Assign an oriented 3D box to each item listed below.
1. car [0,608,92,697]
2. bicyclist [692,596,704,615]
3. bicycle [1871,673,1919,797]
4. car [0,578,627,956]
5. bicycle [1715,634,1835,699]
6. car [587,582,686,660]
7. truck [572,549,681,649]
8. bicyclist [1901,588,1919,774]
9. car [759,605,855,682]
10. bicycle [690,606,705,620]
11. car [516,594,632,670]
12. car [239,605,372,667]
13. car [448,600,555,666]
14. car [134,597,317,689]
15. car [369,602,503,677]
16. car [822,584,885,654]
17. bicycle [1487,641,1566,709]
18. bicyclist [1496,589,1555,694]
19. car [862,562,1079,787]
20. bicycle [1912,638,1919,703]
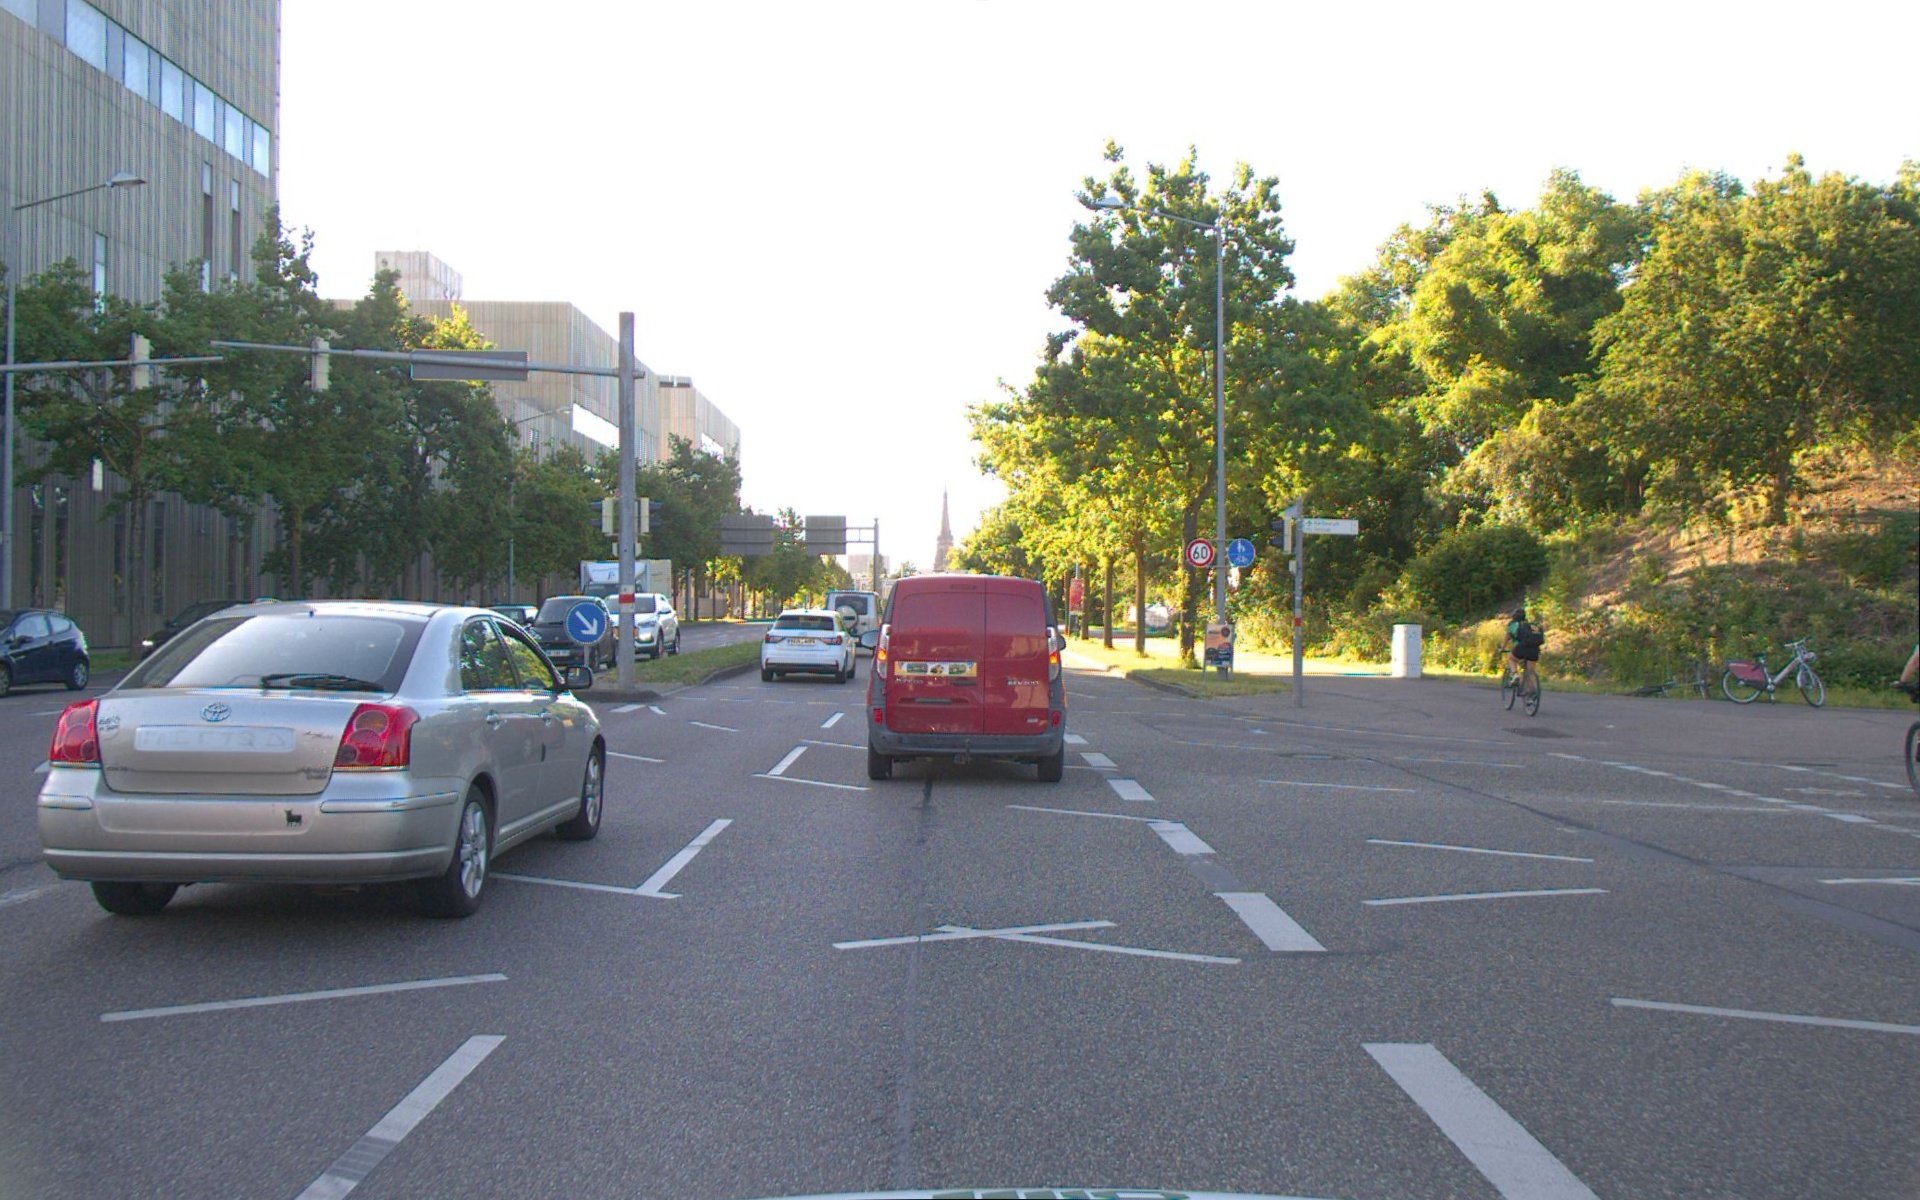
[{"bbox_3d":[-16.551,0.903,28.254,1.613,1.459,3.491,-2,-1,-1],"label":"car"},{"bbox_3d":[-24.903,0.559,157.116,0.891,1.715,1.408,1,-2,0],"label":"bicyclist"},{"bbox_3d":[8.434,1.156,13.933,0.579,1.041,1.750,1,-2,1],"label":"bicycle"},{"bbox_3d":[-3.064,0.702,8.817,1.698,1.506,4.318,1,-1,0],"label":"car"},{"bbox_3d":[13.630,1.111,27.698,1.707,1.041,0.594,1,-2,7],"label":"bicycle"},{"bbox_3d":[-8.166,0.536,42.017,1.721,1.828,4.082,-2,-1,-1],"label":"car"},{"bbox_3d":[-11.140,0.015,55.843,2.360,3.080,6.654,-2,-1,-1],"label":"truck"},{"bbox_3d":[8.438,0.692,13.955,0.579,1.576,0.769,1,-2,1],"label":"bicyclist"},{"bbox_3d":[-3.085,0.858,34.005,1.777,1.463,3.729,1,-1,-3],"label":"car"},{"bbox_3d":[-24.911,1.258,157.094,0.891,1.220,3.300,1,-2,0],"label":"bicycle"},{"bbox_3d":[-8.111,0.677,35.031,1.603,1.469,3.718,-2,-1,-1],"label":"car"},{"bbox_3d":[-16.888,0.919,42.907,1.655,1.469,4.559,-2,-1,-1],"label":"car"},{"bbox_3d":[-11.101,0.787,40.284,1.603,1.469,4.074,-2,-1,-3],"label":"car"},{"bbox_3d":[-13.873,0.794,31.512,1.613,1.572,4.396,-2,-1,-2],"label":"car"},{"bbox_3d":[-11.189,0.821,35.588,1.603,1.469,4.075,-2,-1,-1],"label":"car"},{"bbox_3d":[-3.249,0.634,51.239,1.764,2.024,4.586,1,-2,-2],"label":"car"},{"bbox_3d":[9.054,1.188,26.484,0.580,1.041,1.749,1,-2,-3],"label":"bicycle"},{"bbox_3d":[9.051,0.666,26.497,0.580,1.642,0.941,1,-2,-3],"label":"bicyclist"},{"bbox_3d":[0.154,0.630,15.739,1.767,1.826,4.001,1,-1,2],"label":"car"},{"bbox_3d":[16.181,1.136,26.292,1.707,1.041,0.594,1,-2,7],"label":"bicycle"}]
